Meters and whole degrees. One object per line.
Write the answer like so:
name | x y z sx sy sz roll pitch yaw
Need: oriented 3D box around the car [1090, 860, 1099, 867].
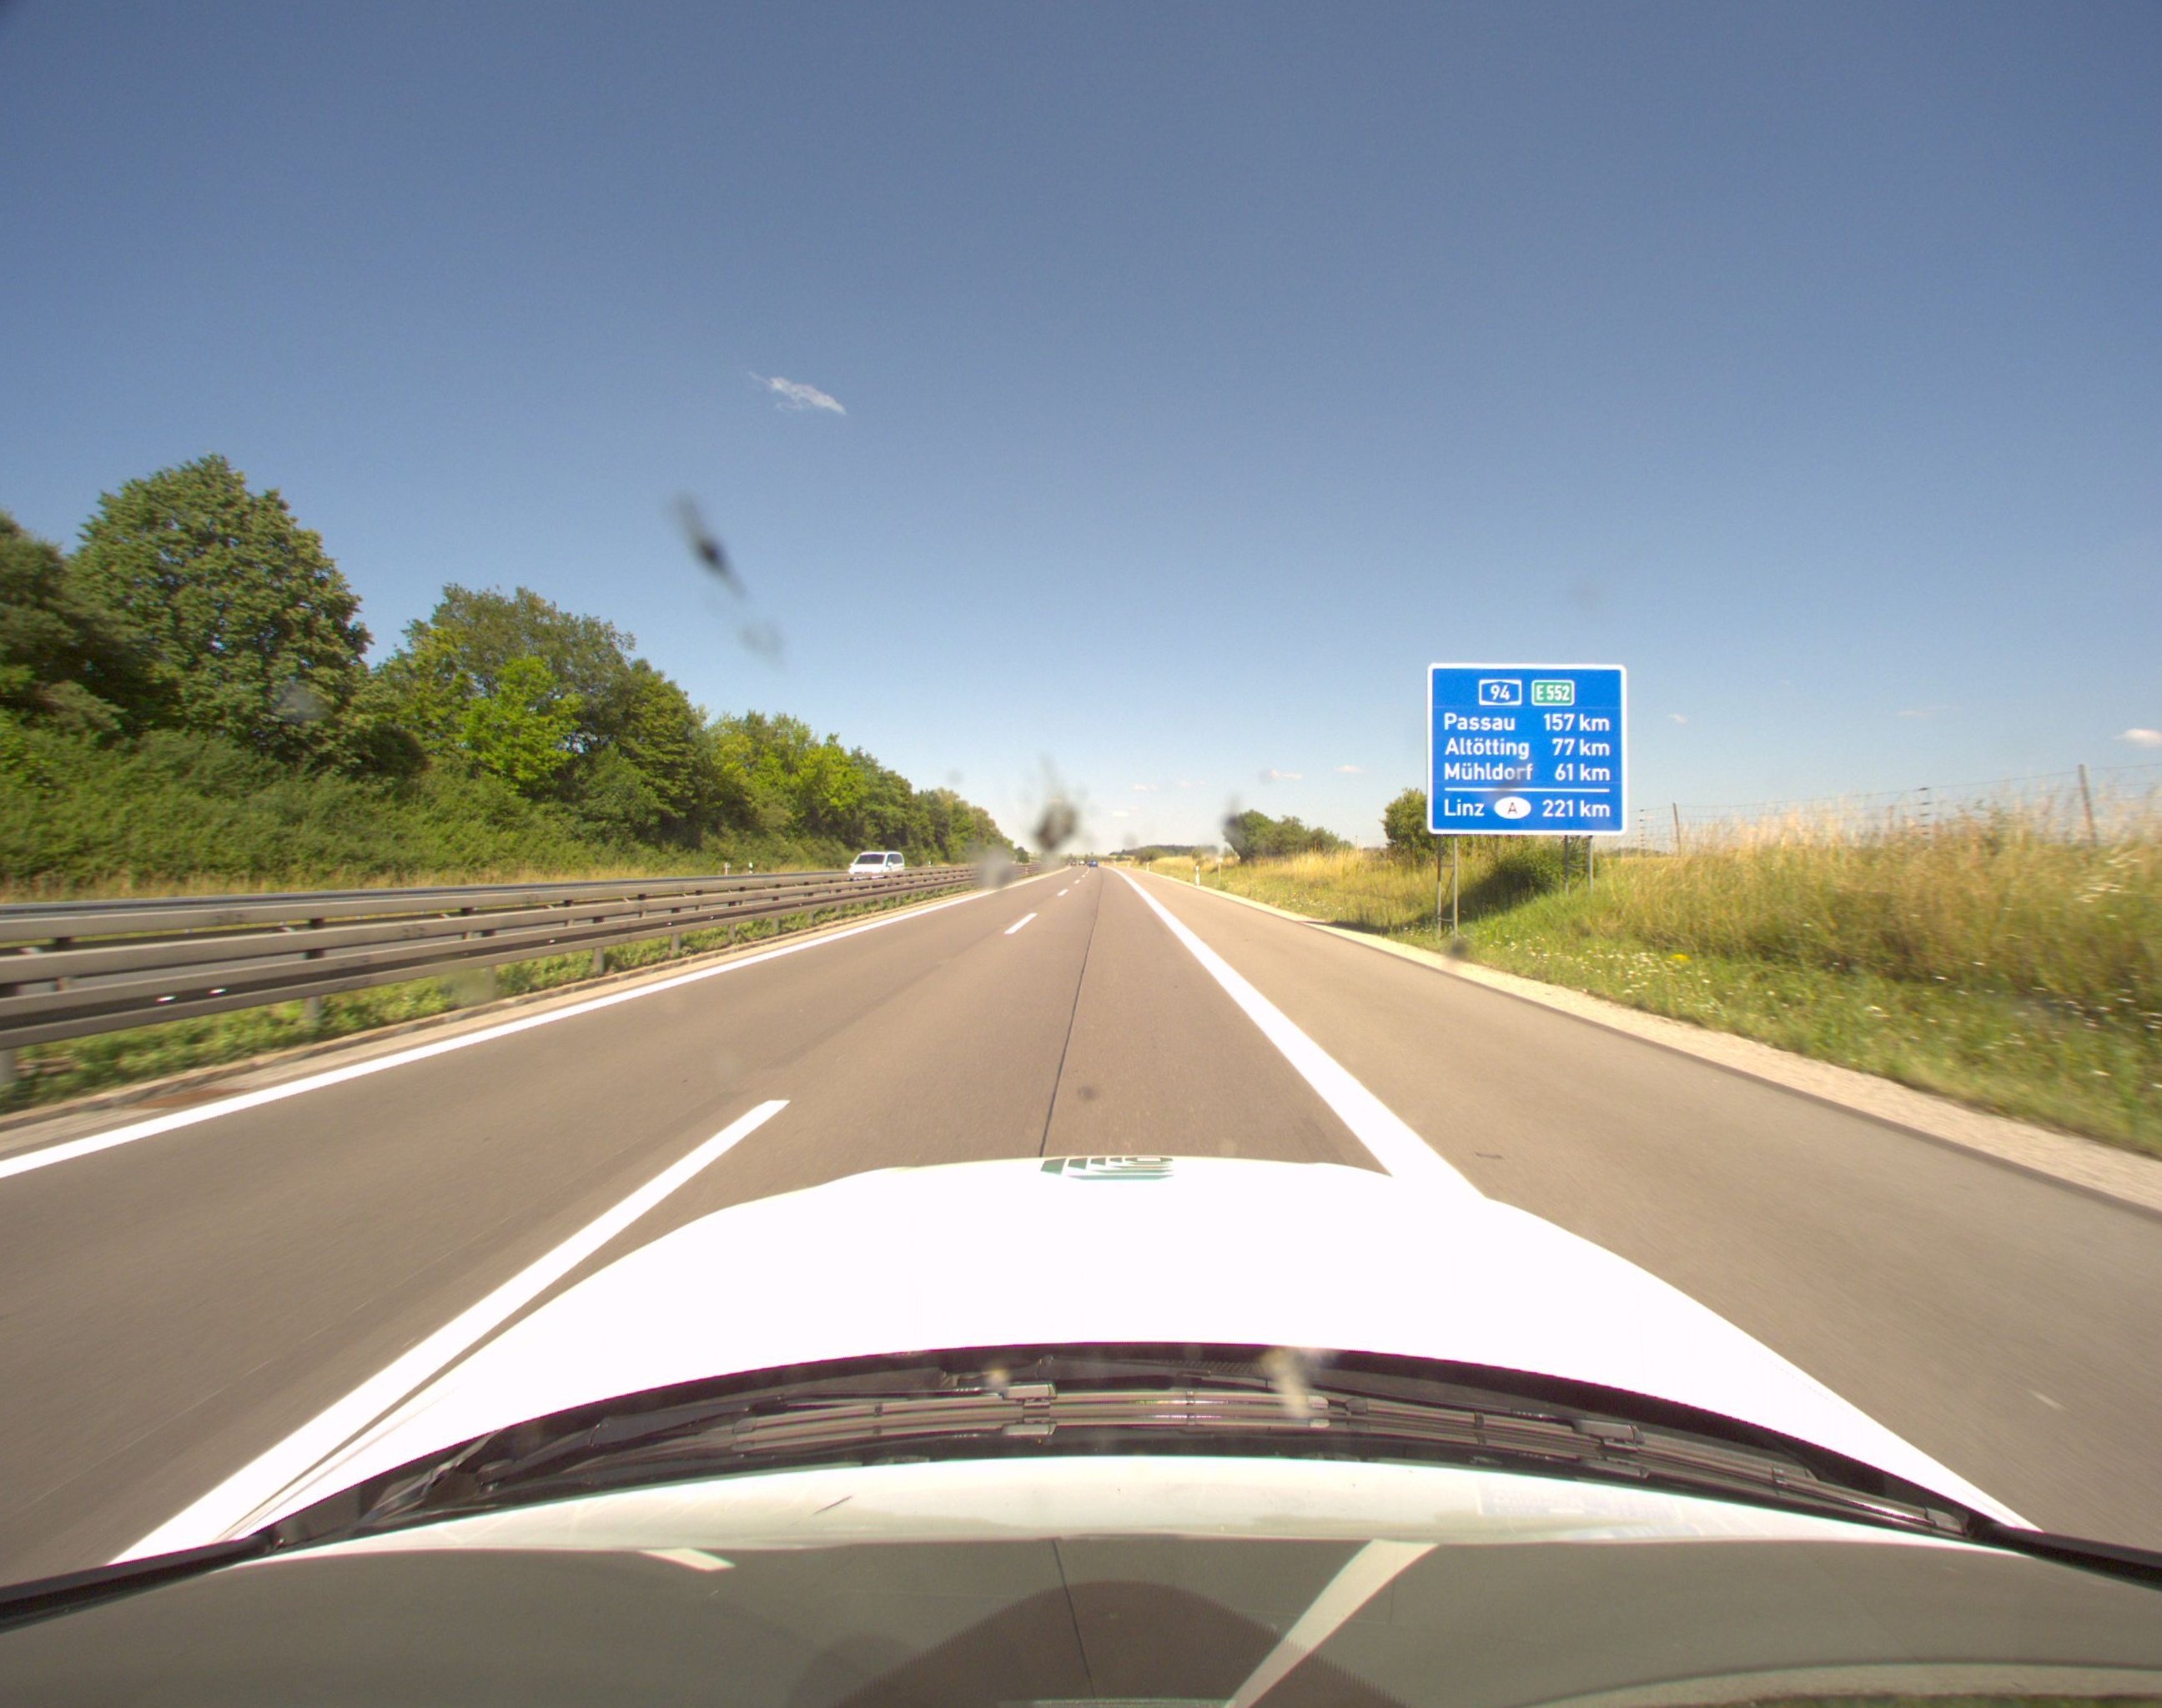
car | 2.757 2.033 168.317 1.669 1.453 3.594 -1 -1 2

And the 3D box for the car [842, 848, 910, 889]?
car | -10.731 0.724 43.060 1.986 1.990 5.693 0 0 2

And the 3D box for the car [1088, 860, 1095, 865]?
car | 2.842 2.353 219.453 1.822 1.453 3.594 -1 -1 2

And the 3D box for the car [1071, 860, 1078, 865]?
car | -1.942 2.594 244.418 1.822 1.453 3.594 -1 -1 2
